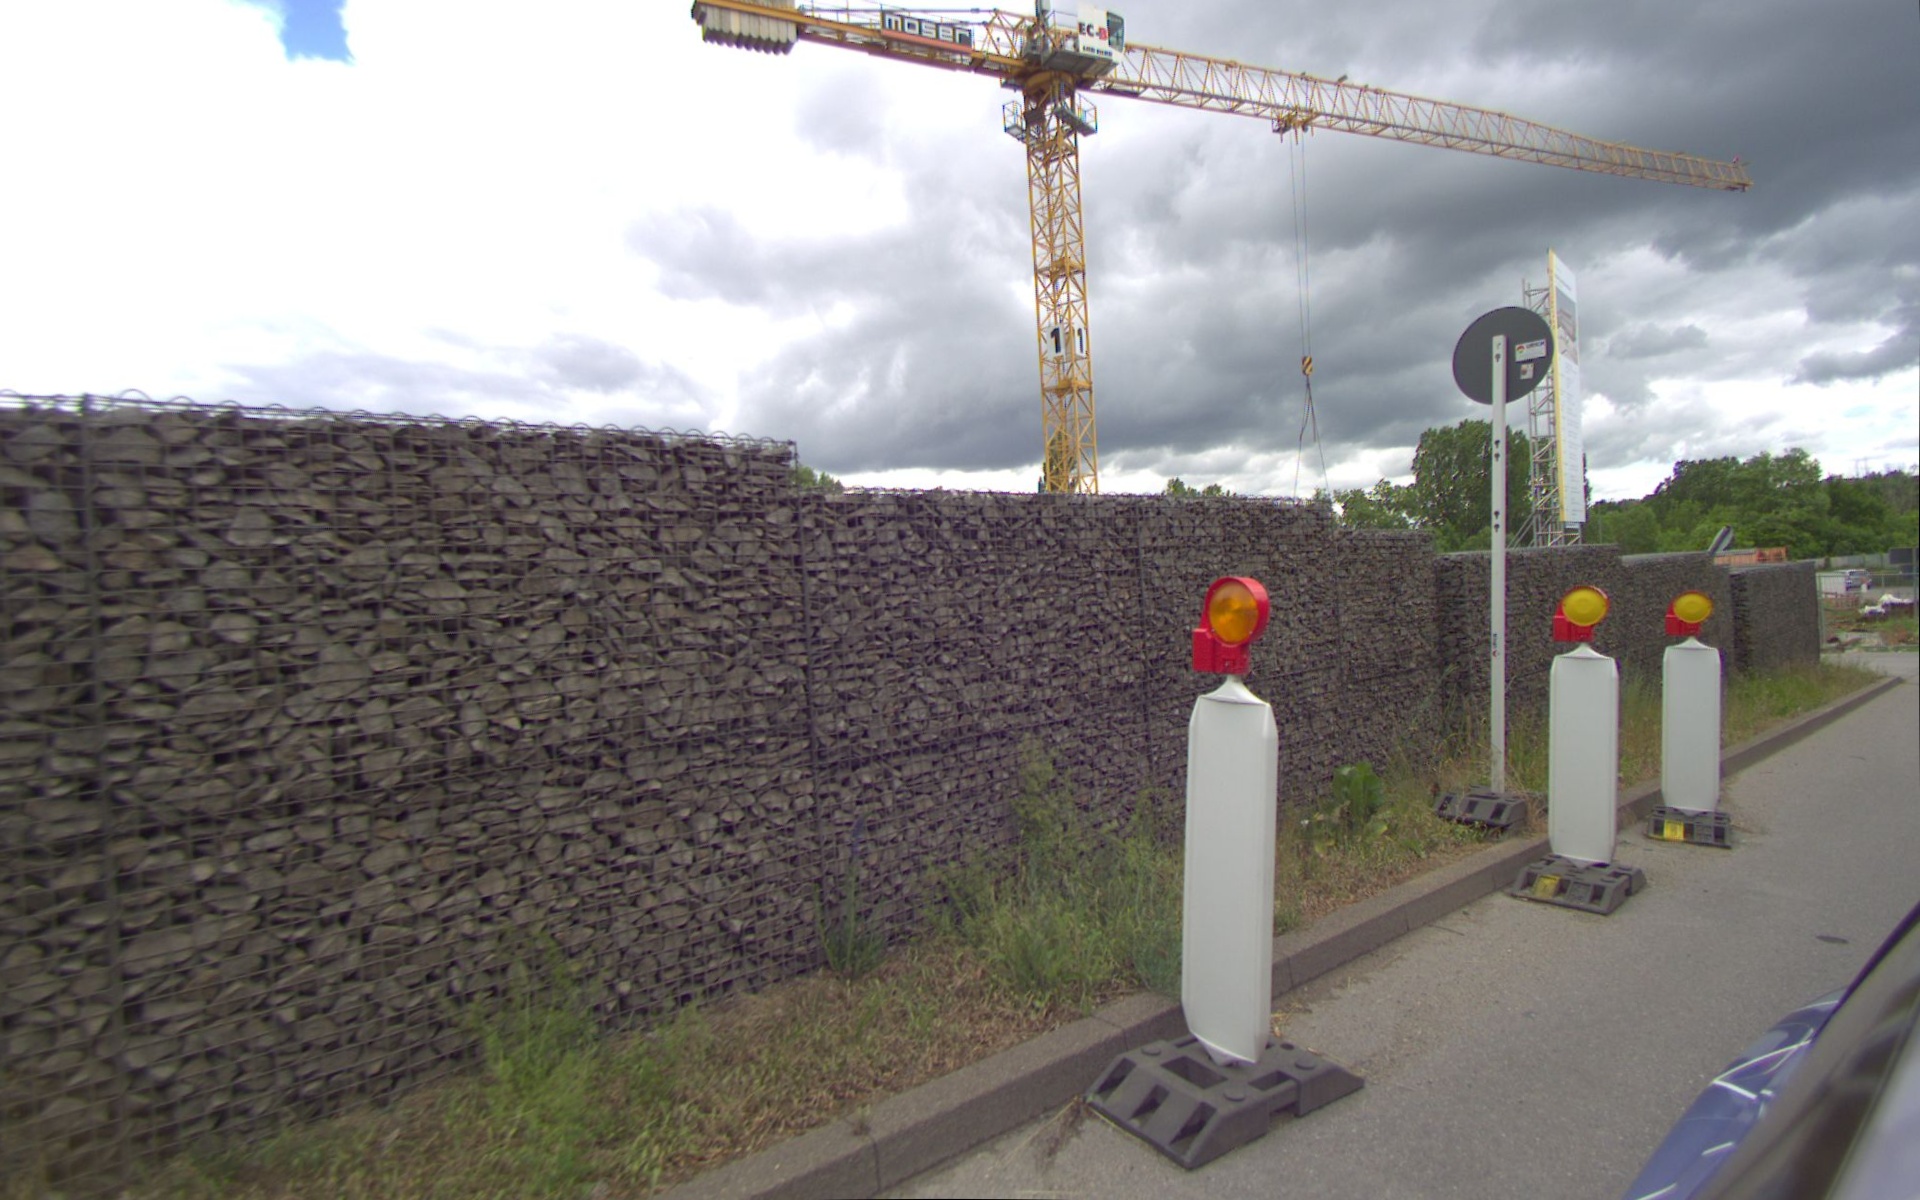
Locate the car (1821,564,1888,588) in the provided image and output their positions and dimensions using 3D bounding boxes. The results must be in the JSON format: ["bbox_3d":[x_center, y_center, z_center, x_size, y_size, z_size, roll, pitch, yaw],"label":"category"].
[{"bbox_3d":[69.180,-1.823,78.335,1.863,1.583,4.090,-4,-1,8],"label":"car"}]

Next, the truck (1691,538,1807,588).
[{"bbox_3d":[71.325,-3.203,91.848,2.987,3.947,9.991,-3,0,4],"label":"truck"}]
